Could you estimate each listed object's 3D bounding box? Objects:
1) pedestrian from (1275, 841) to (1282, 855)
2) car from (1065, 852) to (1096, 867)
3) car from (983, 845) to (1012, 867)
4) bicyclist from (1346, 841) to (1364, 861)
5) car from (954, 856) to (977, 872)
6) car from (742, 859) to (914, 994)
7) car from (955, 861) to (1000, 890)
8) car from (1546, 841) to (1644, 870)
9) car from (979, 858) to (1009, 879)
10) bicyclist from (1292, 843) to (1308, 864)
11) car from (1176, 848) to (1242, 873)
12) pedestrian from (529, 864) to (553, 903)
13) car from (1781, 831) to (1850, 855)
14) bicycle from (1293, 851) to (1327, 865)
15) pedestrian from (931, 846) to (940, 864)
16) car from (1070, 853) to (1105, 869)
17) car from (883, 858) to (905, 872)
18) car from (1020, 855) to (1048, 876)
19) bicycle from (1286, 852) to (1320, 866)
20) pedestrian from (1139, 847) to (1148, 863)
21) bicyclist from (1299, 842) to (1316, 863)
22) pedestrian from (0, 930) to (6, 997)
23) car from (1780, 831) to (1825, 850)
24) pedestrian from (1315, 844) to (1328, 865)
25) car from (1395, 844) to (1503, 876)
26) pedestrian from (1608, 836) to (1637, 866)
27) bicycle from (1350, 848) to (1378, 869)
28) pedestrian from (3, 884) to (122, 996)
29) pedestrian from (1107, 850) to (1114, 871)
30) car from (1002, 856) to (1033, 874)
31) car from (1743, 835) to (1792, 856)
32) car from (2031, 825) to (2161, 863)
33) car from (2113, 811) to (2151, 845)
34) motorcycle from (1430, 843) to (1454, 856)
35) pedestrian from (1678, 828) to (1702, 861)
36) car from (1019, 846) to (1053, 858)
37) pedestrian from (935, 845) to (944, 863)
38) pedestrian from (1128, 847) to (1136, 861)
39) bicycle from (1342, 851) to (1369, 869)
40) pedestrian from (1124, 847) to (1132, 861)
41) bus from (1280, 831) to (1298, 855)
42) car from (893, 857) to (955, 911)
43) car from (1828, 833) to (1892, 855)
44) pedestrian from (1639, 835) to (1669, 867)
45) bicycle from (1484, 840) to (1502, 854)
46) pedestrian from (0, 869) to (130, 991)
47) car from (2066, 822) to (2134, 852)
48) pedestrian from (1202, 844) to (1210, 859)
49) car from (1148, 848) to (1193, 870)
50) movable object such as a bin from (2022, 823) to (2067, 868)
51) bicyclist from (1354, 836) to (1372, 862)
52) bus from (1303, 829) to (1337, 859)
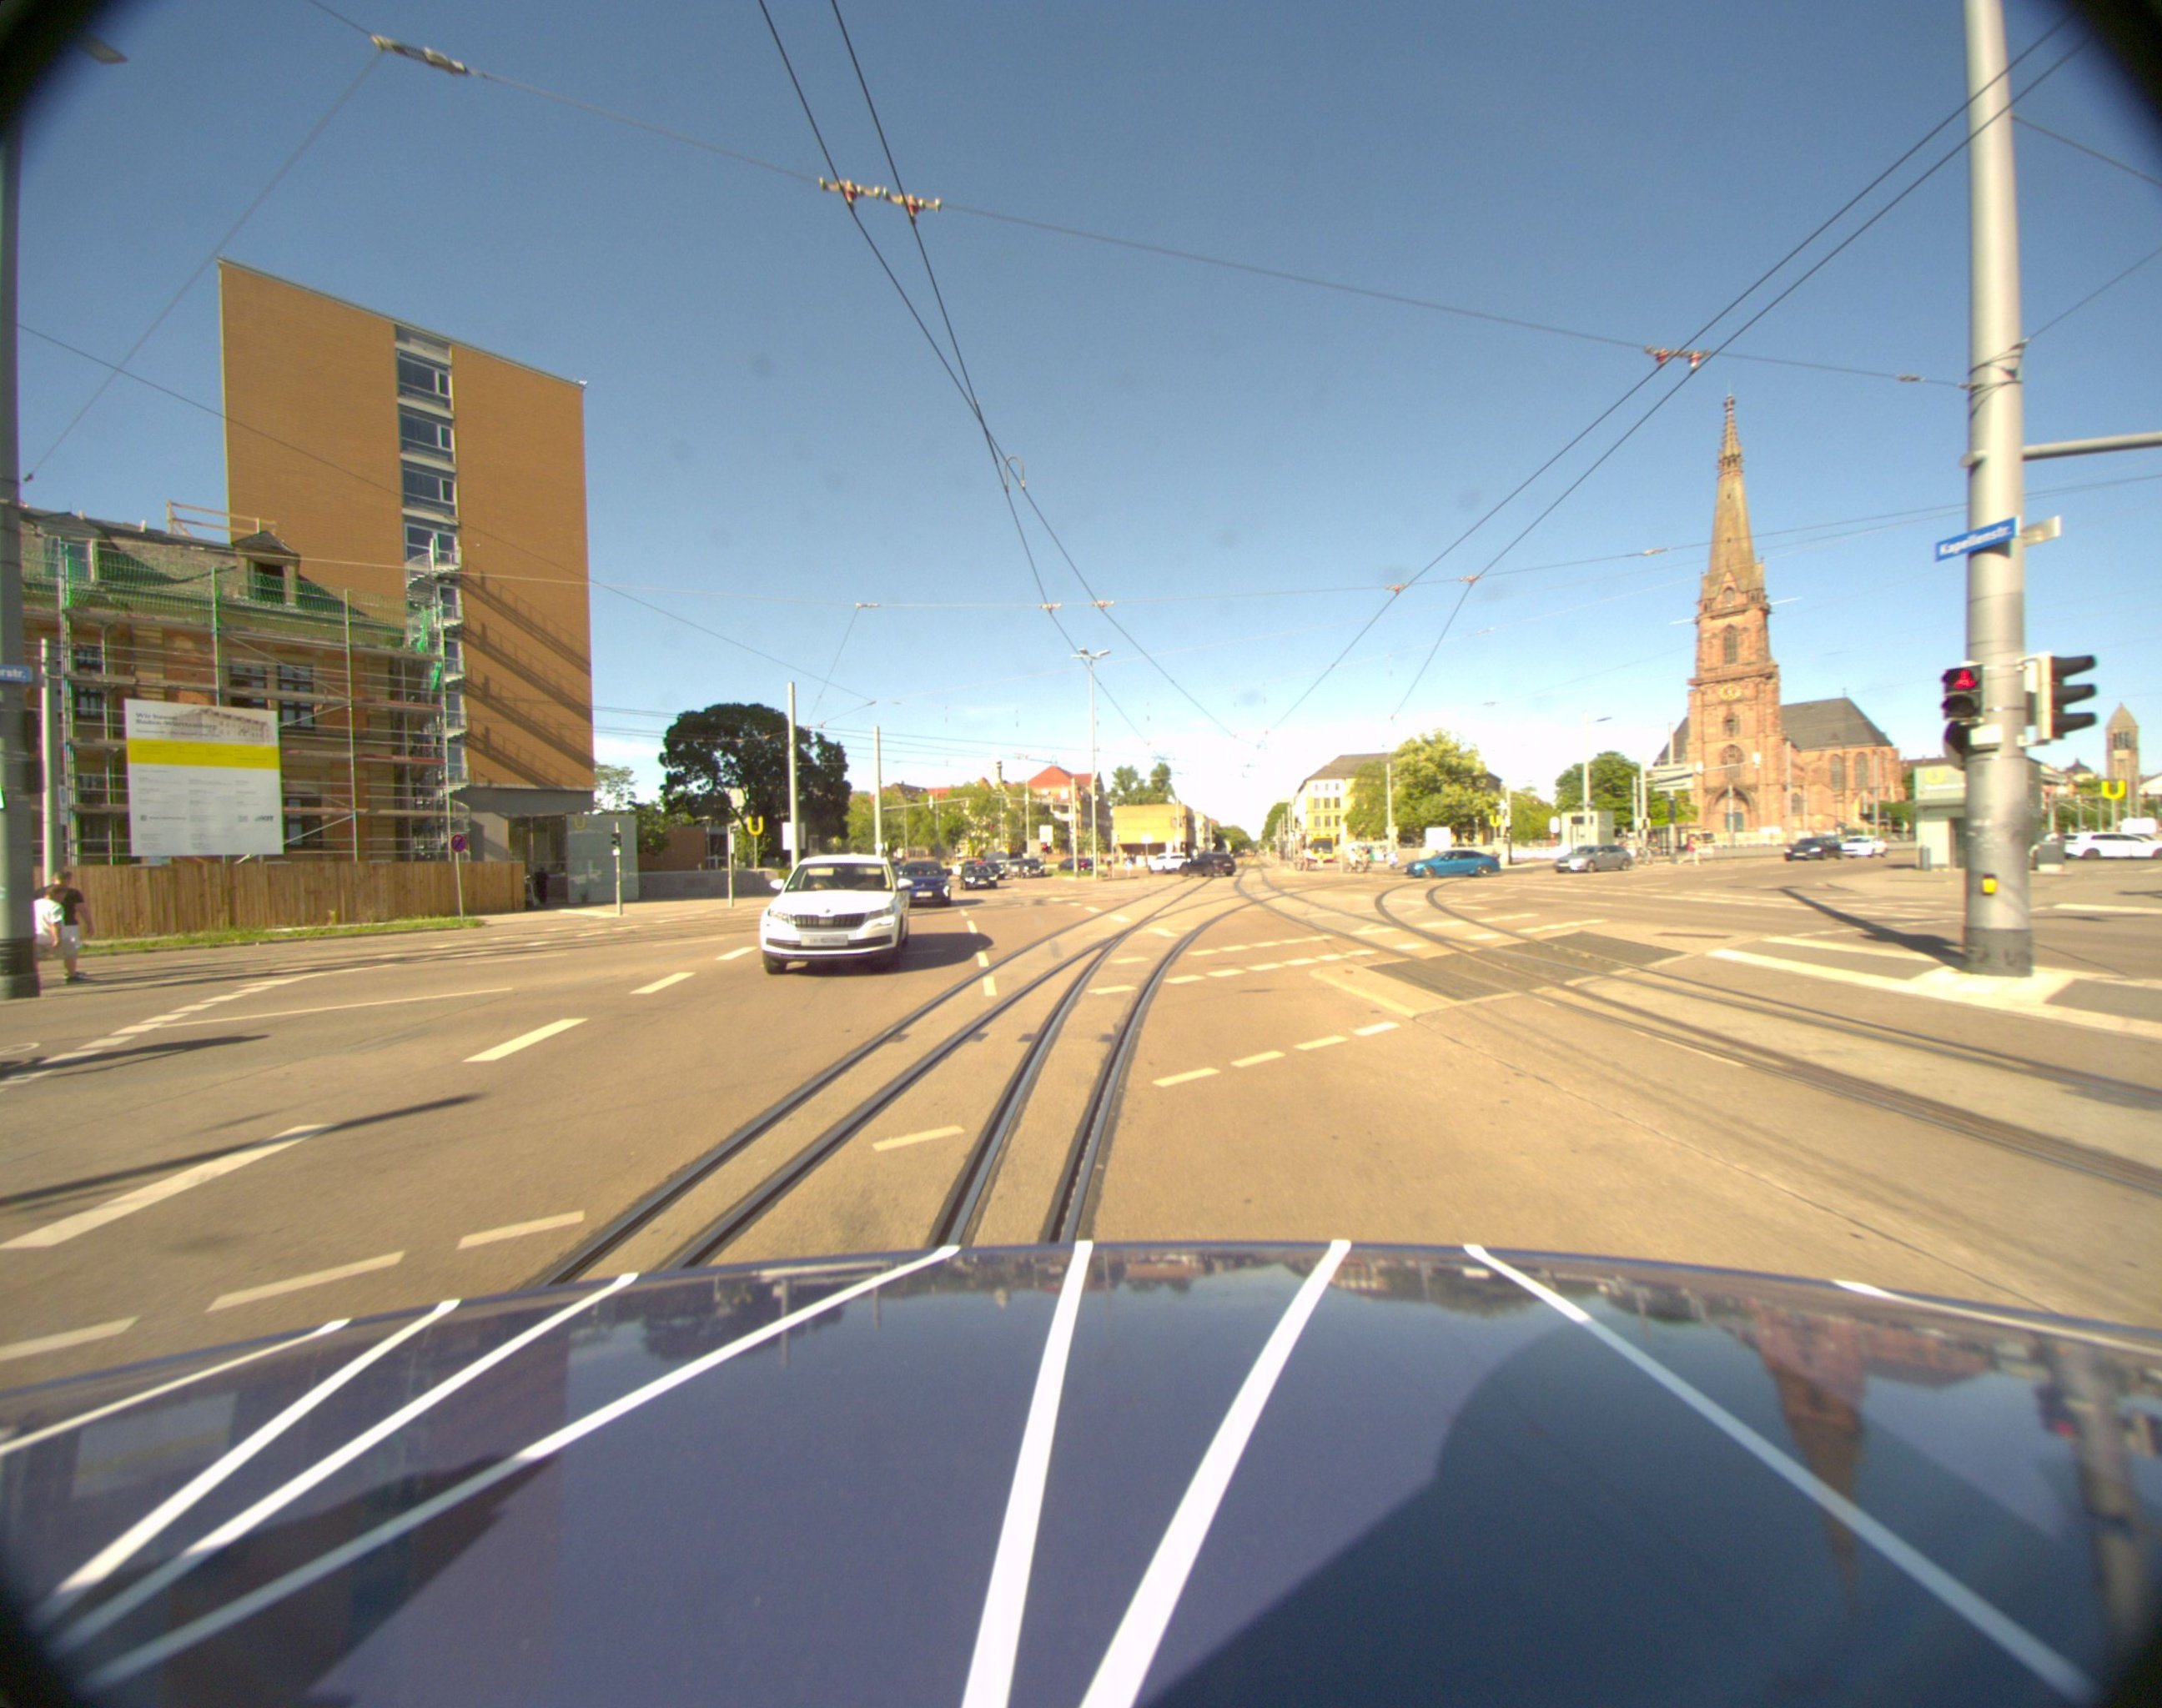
[{"bbox_3d":[27.040,-0.823,104.043,0.690,1.851,0.730,-3,1,18],"label":"pedestrian"},{"bbox_3d":[-0.124,0.601,82.572,1.889,1.450,4.637,-3,1,-19],"label":"car"},{"bbox_3d":[-10.952,0.302,99.747,2.246,2.665,5.296,-4,1,-23],"label":"car"},{"bbox_3d":[18.321,-0.187,50.813,0.796,1.315,0.758,-2,1,-25],"label":"bicyclist"},{"bbox_3d":[-12.189,1.029,79.968,1.762,1.447,4.115,-4,1,-18],"label":"car"},{"bbox_3d":[-3.725,0.938,11.998,1.870,1.635,4.392,-1,1,-9],"label":"car"},{"bbox_3d":[-6.041,1.229,44.131,1.923,1.450,3.860,-4,1,-16],"label":"car"},{"bbox_3d":[26.804,0.060,39.625,4.603,1.321,1.794,-2,1,-18],"label":"car"},{"bbox_3d":[-6.944,1.123,60.241,1.888,1.450,4.008,-4,1,-13],"label":"car"},{"bbox_3d":[16.585,-0.027,57.584,0.957,1.520,0.576,-4,1,-15],"label":"bicyclist"},{"bbox_3d":[8.511,0.403,50.811,2.047,1.568,4.620,-3,1,-26],"label":"car"},{"bbox_3d":[-25.509,1.398,35.899,0.778,1.777,0.829,-4,2,-37],"label":"pedestrian"},{"bbox_3d":[45.172,-0.703,46.715,4.606,1.321,1.793,-2,1,-29],"label":"car"},{"bbox_3d":[17.113,0.320,56.689,2.478,0.984,0.615,-2,1,-15],"label":"bicycle"},{"bbox_3d":[-20.180,0.091,105.313,0.876,2.421,0.888,-4,1,-19],"label":"pedestrian"},{"bbox_3d":[0.582,0.702,72.518,1.853,1.408,4.473,-2,0,-18],"label":"car"},{"bbox_3d":[-21.614,1.290,87.730,1.924,1.450,4.660,-4,1,-20],"label":"car"},{"bbox_3d":[-3.850,0.898,61.599,1.687,1.523,3.910,-3,1,-12],"label":"car"},{"bbox_3d":[16.855,0.359,57.647,2.478,0.984,0.615,-2,1,-15],"label":"bicycle"},{"bbox_3d":[7.180,0.150,87.347,0.857,1.819,0.703,-3,2,22],"label":"pedestrian"},{"bbox_3d":[16.915,-0.117,56.638,0.996,1.540,0.595,-3,1,-14],"label":"bicyclist"},{"bbox_3d":[-16.906,1.342,11.247,0.661,1.747,0.823,-3,1,-2],"label":"pedestrian"},{"bbox_3d":[56.557,-1.041,59.518,4.007,1.352,1.909,-2,0,-37],"label":"car"},{"bbox_3d":[18.804,0.001,59.427,0.715,1.598,0.607,-4,1,-13],"label":"pedestrian"},{"bbox_3d":[18.792,0.270,38.945,4.594,1.449,1.914,-2,1,5],"label":"car"},{"bbox_3d":[33.157,-0.171,46.551,0.993,1.789,0.993,-3,1,-4],"label":"pedestrian"},{"bbox_3d":[18.403,0.283,49.397,1.967,1.249,0.614,-2,1,-34],"label":"bicycle"},{"bbox_3d":[-16.305,1.350,12.191,0.661,1.667,0.823,-3,1,-2],"label":"pedestrian"},{"bbox_3d":[2.174,0.465,56.268,0.372,1.547,0.644,-3,1,-5],"label":"pedestrian"},{"bbox_3d":[-5.712,0.925,67.975,1.826,1.450,4.654,-4,1,-16],"label":"car"},{"bbox_3d":[49.817,-0.619,55.126,4.007,1.352,1.909,-2,0,-37],"label":"car"},{"bbox_3d":[54.165,-0.531,40.442,3.991,1.742,2.002,-3,1,20],"label":"car"},{"bbox_3d":[105.464,-2.638,76.256,4.929,3.089,1.995,-4,1,-34],"label":"car"},{"bbox_3d":[36.411,-0.454,76.672,2.103,1.246,0.535,-3,1,13],"label":"motorcycle"},{"bbox_3d":[36.904,-0.563,46.061,0.995,1.892,0.991,-5,2,-45],"label":"pedestrian"},{"bbox_3d":[-7.592,-0.367,127.857,5.246,1.793,2.404,-4,1,-43],"label":"car"},{"bbox_3d":[-19.409,0.042,104.299,0.876,2.406,0.888,-4,1,-19],"label":"pedestrian"},{"bbox_3d":[6.446,-0.006,96.120,0.643,1.702,0.703,-3,2,28],"label":"pedestrian"},{"bbox_3d":[18.373,0.401,50.845,1.727,1.099,0.615,-2,1,-24],"label":"bicycle"},{"bbox_3d":[5.978,0.022,97.001,0.748,1.702,0.703,-3,2,28],"label":"pedestrian"},{"bbox_3d":[28.300,-1.488,103.449,2.137,3.028,8.568,-3,0,16],"label":"bus"},{"bbox_3d":[-5.548,0.983,26.659,1.888,1.621,4.008,-4,1,-13],"label":"car"},{"bbox_3d":[52.048,-0.687,50.743,4.606,1.321,1.793,-2,1,-29],"label":"car"},{"bbox_3d":[34.957,-0.206,46.356,0.994,1.892,0.992,-4,1,-12],"label":"pedestrian"},{"bbox_3d":[41.097,-0.708,75.765,1.499,1.263,0.366,-3,1,18],"label":"bicycle"},{"bbox_3d":[-17.420,1.265,12.948,0.933,1.918,1.048,-3,1,-2],"label":"pedestrian"},{"bbox_3d":[63.796,-1.058,47.569,4.005,1.656,1.996,-4,1,-28],"label":"car"},{"bbox_3d":[16.269,-0.331,98.922,0.857,1.870,0.694,-3,2,22],"label":"pedestrian"},{"bbox_3d":[7.144,0.390,61.148,2.005,1.631,4.558,-2,0,-16],"label":"car"},{"bbox_3d":[36.222,-0.305,28.559,0.993,1.625,0.935,-4,2,-32],"label":"movable object such as a bin"},{"bbox_3d":[18.336,-0.337,49.346,0.796,1.665,0.758,-2,1,-34],"label":"bicyclist"},{"bbox_3d":[28.881,-1.303,92.208,2.846,3.104,11.825,-3,2,13],"label":"bus"}]
